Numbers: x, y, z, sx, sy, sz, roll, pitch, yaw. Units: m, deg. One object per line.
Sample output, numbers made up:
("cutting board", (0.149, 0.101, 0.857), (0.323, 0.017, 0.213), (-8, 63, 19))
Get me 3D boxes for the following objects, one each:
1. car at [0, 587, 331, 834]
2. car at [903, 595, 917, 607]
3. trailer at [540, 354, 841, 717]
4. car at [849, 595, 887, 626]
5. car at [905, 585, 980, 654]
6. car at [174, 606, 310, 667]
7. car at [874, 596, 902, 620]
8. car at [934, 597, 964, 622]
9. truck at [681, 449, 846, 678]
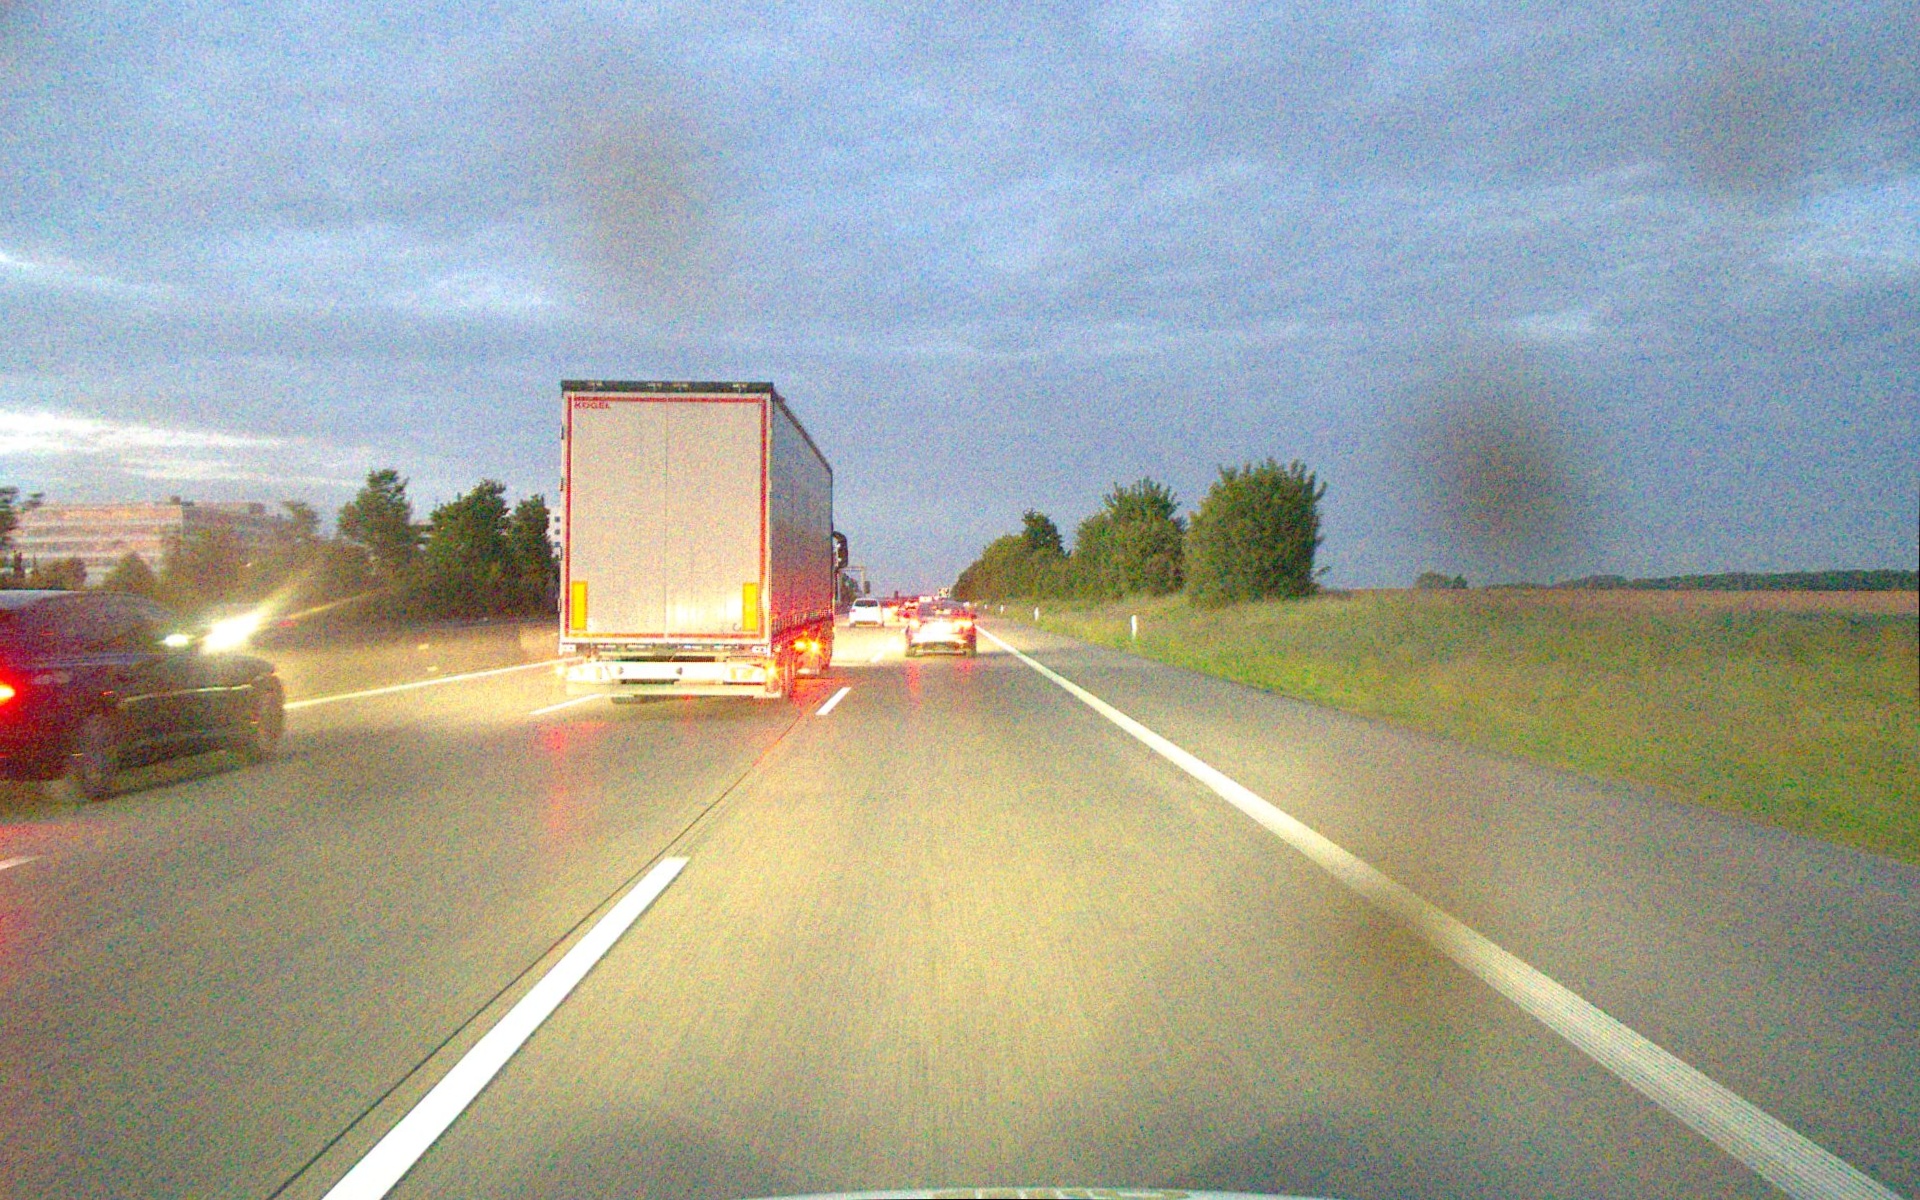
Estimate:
("car", (-6.710, 0.651, 12.675), (1.777, 1.462, 5.393), (1, 0, -1))
("car", (-6.945, 0.170, 229.010), (1.842, 1.579, 3.999), (1, 0, -1))
("trailer", (-3.613, -0.699, 26.251), (2.737, 4.157, 14.521), (0, 0, -1))
("car", (-4.761, 0.547, 85.727), (1.708, 1.551, 4.413), (1, 0, 0))
("car", (-0.464, 0.501, 43.318), (1.842, 1.672, 3.999), (1, 0, -1))
("car", (-19.186, 0.945, 44.431), (1.708, 1.525, 4.520), (1, 0, -1))
("car", (-4.678, 0.546, 107.459), (1.688, 1.497, 4.725), (1, 0, -1))
("car", (-0.752, 0.609, 107.483), (1.842, 1.579, 3.999), (1, 0, -1))
("truck", (-3.779, -0.648, 33.090), (2.721, 4.164, 6.101), (0, 0, -1))
